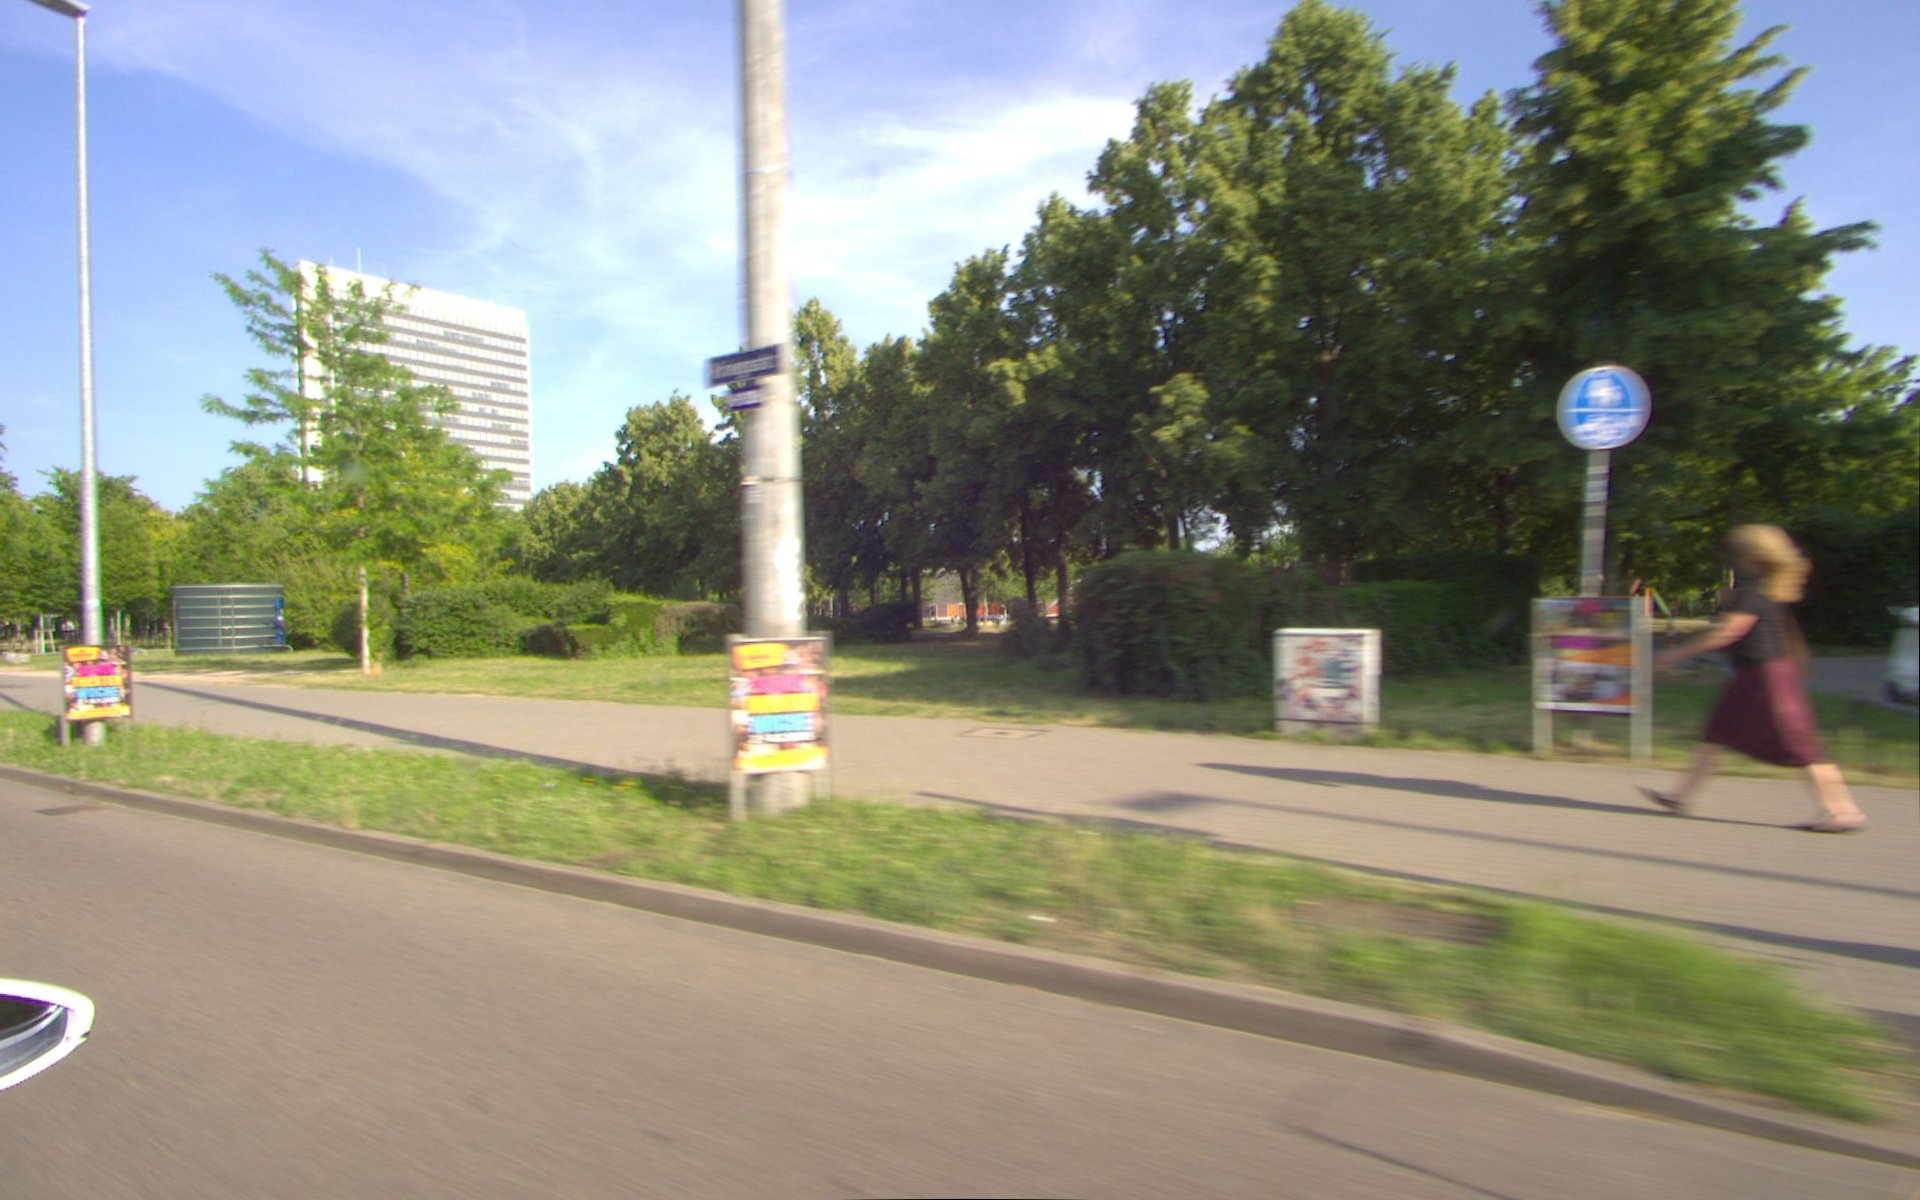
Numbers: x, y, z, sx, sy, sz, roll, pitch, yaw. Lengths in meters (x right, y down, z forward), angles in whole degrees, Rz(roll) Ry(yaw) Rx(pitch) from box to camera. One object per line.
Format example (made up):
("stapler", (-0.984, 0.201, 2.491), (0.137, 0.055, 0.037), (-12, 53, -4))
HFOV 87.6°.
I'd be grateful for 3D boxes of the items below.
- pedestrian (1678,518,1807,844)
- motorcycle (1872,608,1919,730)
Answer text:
("pedestrian", (4.396, 0.421, 5.662), (0.541, 1.716, 0.612), (0, 6, 36))
("motorcycle", (9.630, 0.661, 9.672), (0.697, 1.175, 1.995), (0, -1, 27))
